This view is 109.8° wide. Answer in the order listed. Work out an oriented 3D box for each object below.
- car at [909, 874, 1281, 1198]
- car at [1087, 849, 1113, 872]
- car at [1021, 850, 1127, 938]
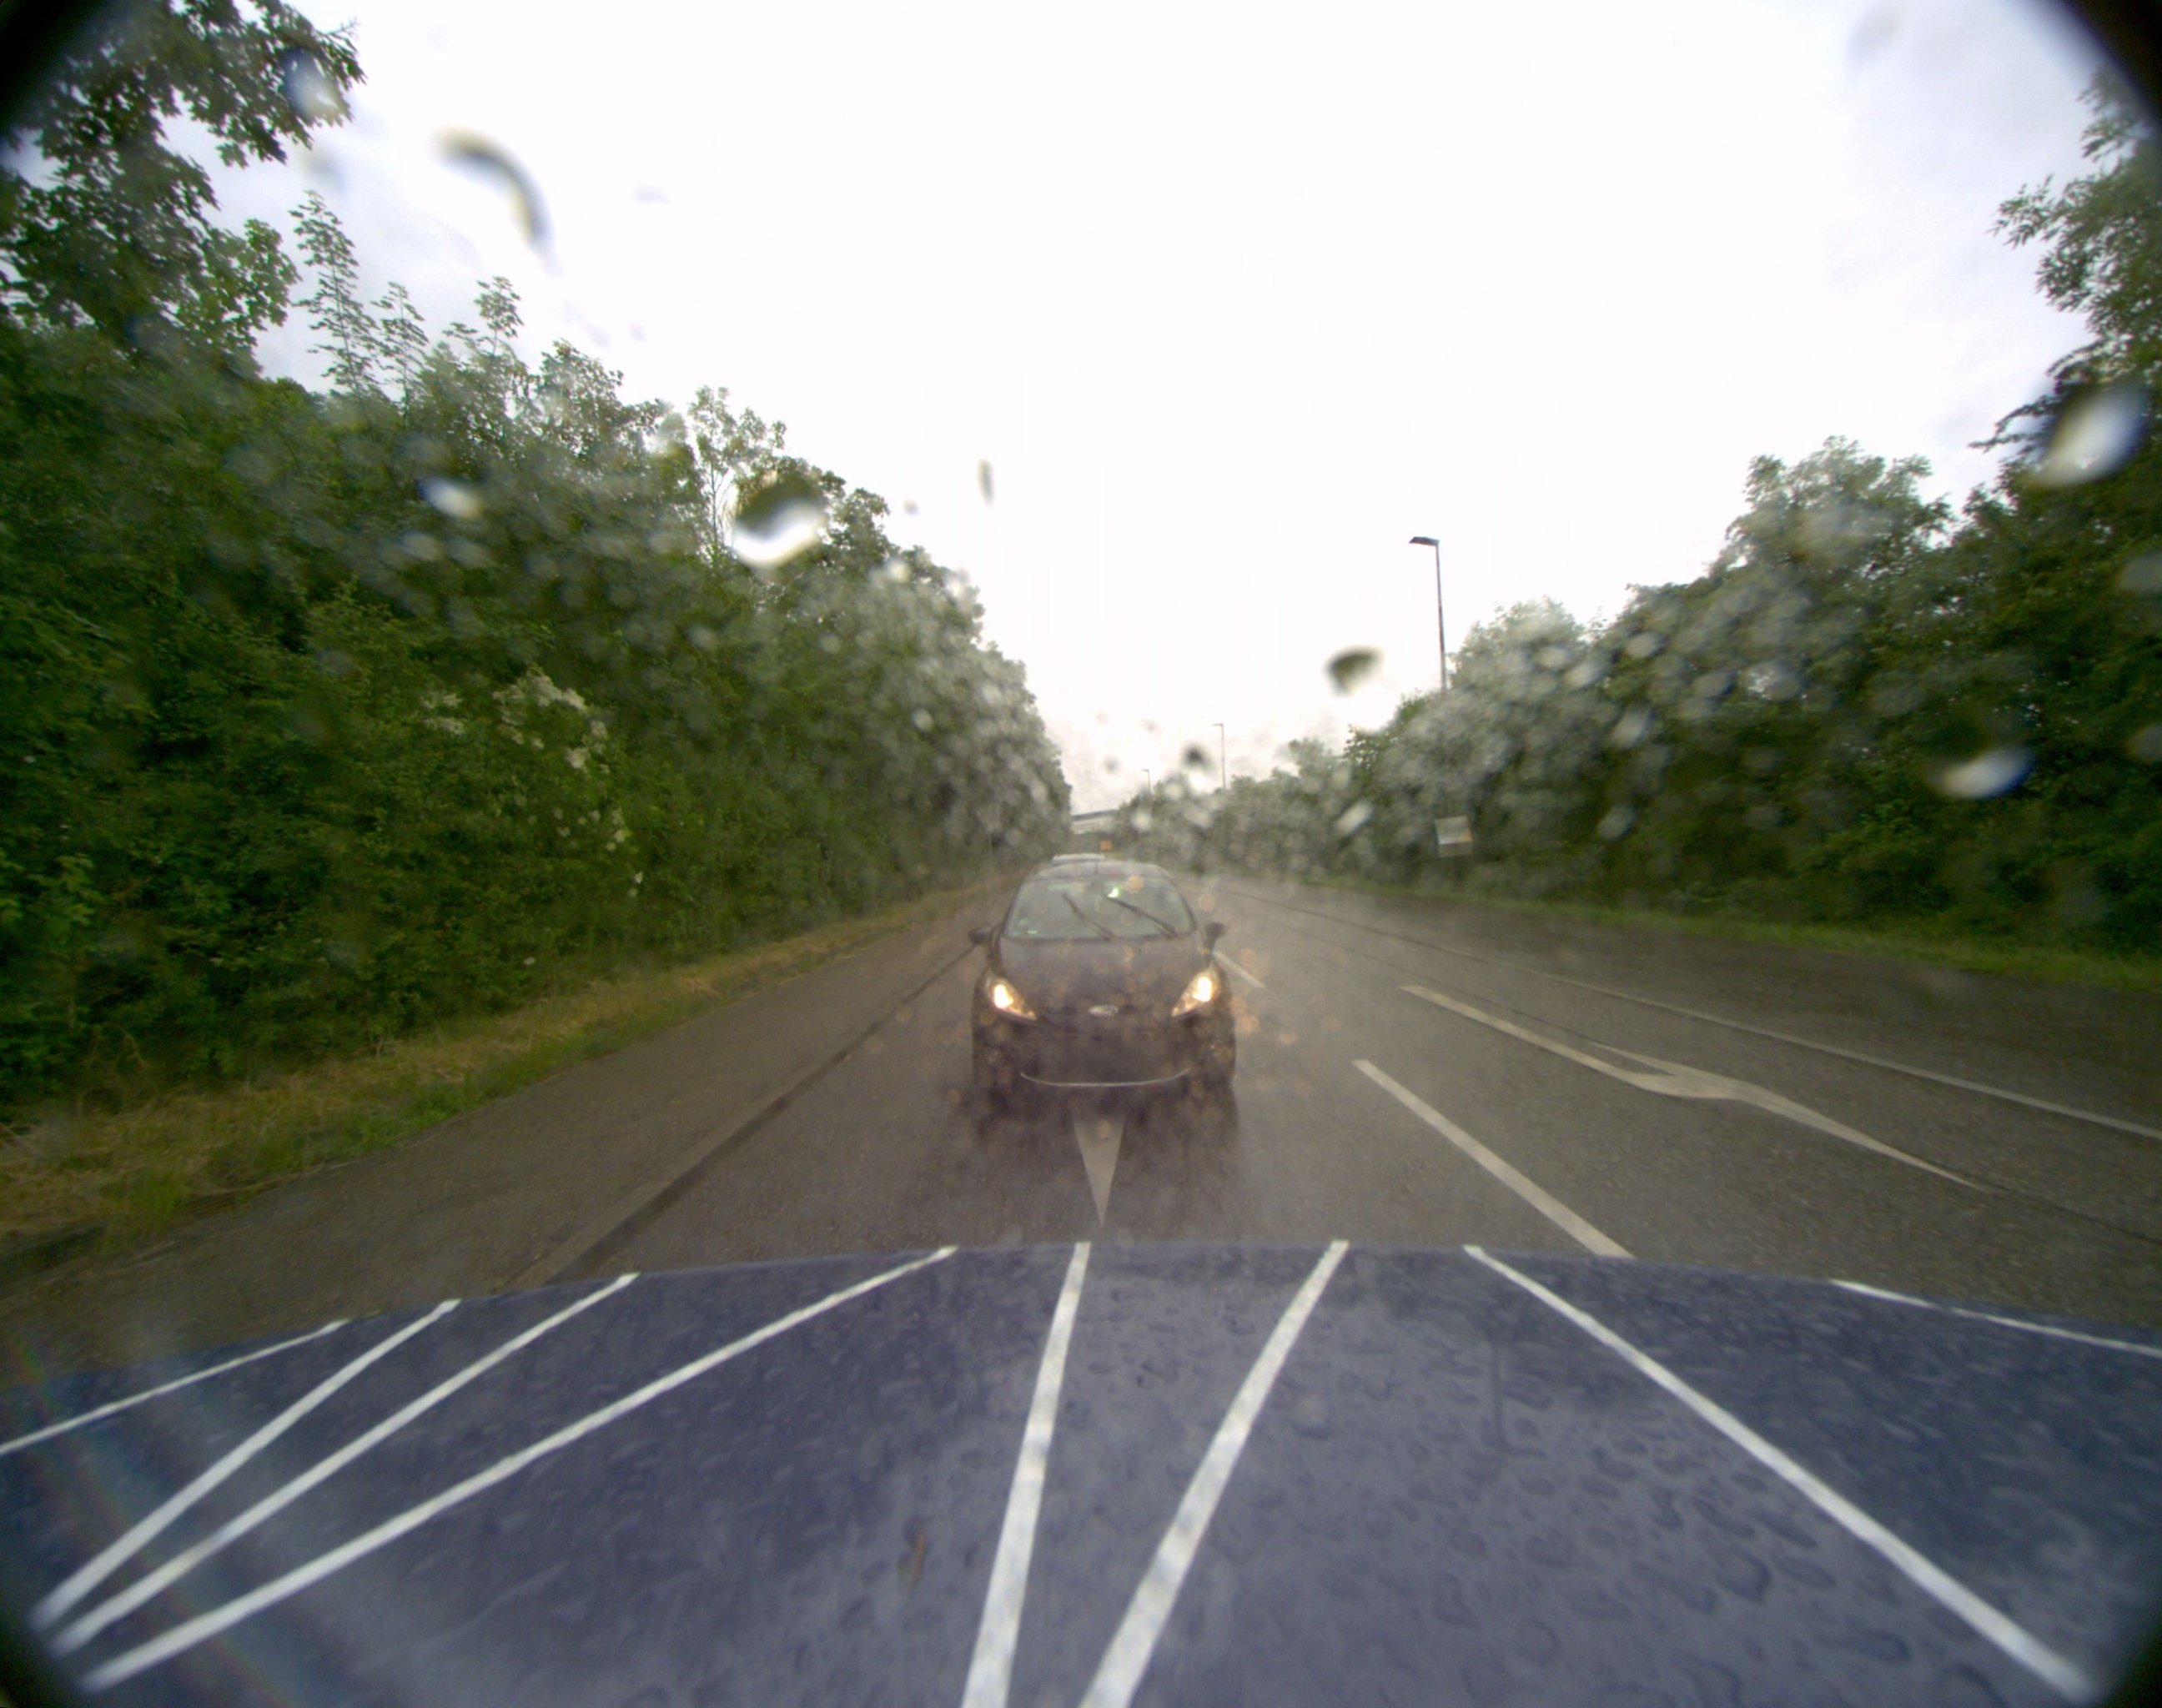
[{"bbox_3d":[0.096,0.980,6.010,1.839,1.404,4.342,-2,1,1],"label":"car"},{"bbox_3d":[1.486,0.505,60.474,1.998,1.777,4.000,-2,0,0],"label":"car"},{"bbox_3d":[-0.111,0.765,16.662,1.998,1.576,3.999,-2,1,1],"label":"car"}]
